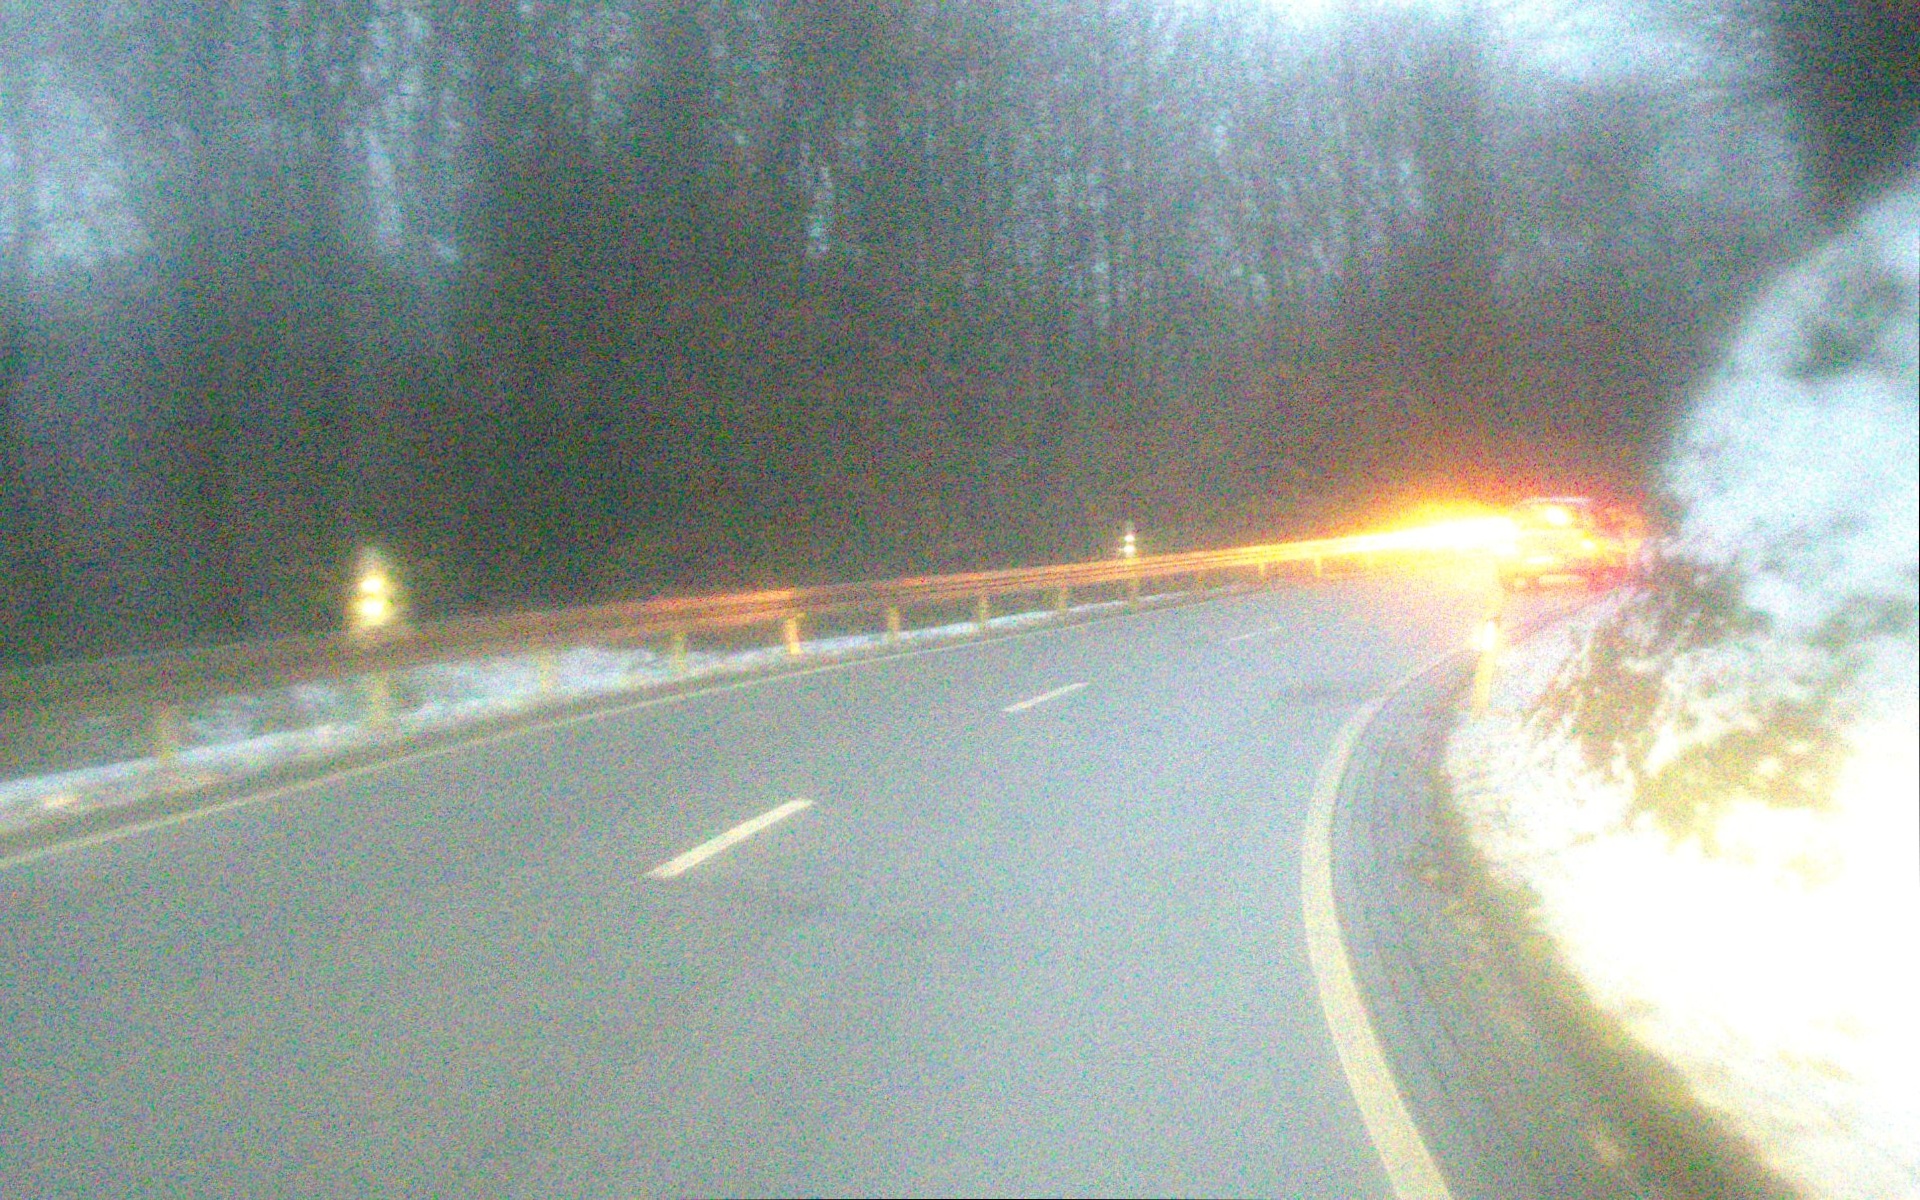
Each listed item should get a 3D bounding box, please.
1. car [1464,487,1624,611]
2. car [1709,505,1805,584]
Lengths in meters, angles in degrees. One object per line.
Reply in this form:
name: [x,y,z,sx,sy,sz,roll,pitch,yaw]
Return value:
car: [9.287,-0.791,54.444,1.995,1.866,3.997,0,0,17]
car: [20.994,-1.450,90.512,1.870,1.912,3.995,2,0,21]
